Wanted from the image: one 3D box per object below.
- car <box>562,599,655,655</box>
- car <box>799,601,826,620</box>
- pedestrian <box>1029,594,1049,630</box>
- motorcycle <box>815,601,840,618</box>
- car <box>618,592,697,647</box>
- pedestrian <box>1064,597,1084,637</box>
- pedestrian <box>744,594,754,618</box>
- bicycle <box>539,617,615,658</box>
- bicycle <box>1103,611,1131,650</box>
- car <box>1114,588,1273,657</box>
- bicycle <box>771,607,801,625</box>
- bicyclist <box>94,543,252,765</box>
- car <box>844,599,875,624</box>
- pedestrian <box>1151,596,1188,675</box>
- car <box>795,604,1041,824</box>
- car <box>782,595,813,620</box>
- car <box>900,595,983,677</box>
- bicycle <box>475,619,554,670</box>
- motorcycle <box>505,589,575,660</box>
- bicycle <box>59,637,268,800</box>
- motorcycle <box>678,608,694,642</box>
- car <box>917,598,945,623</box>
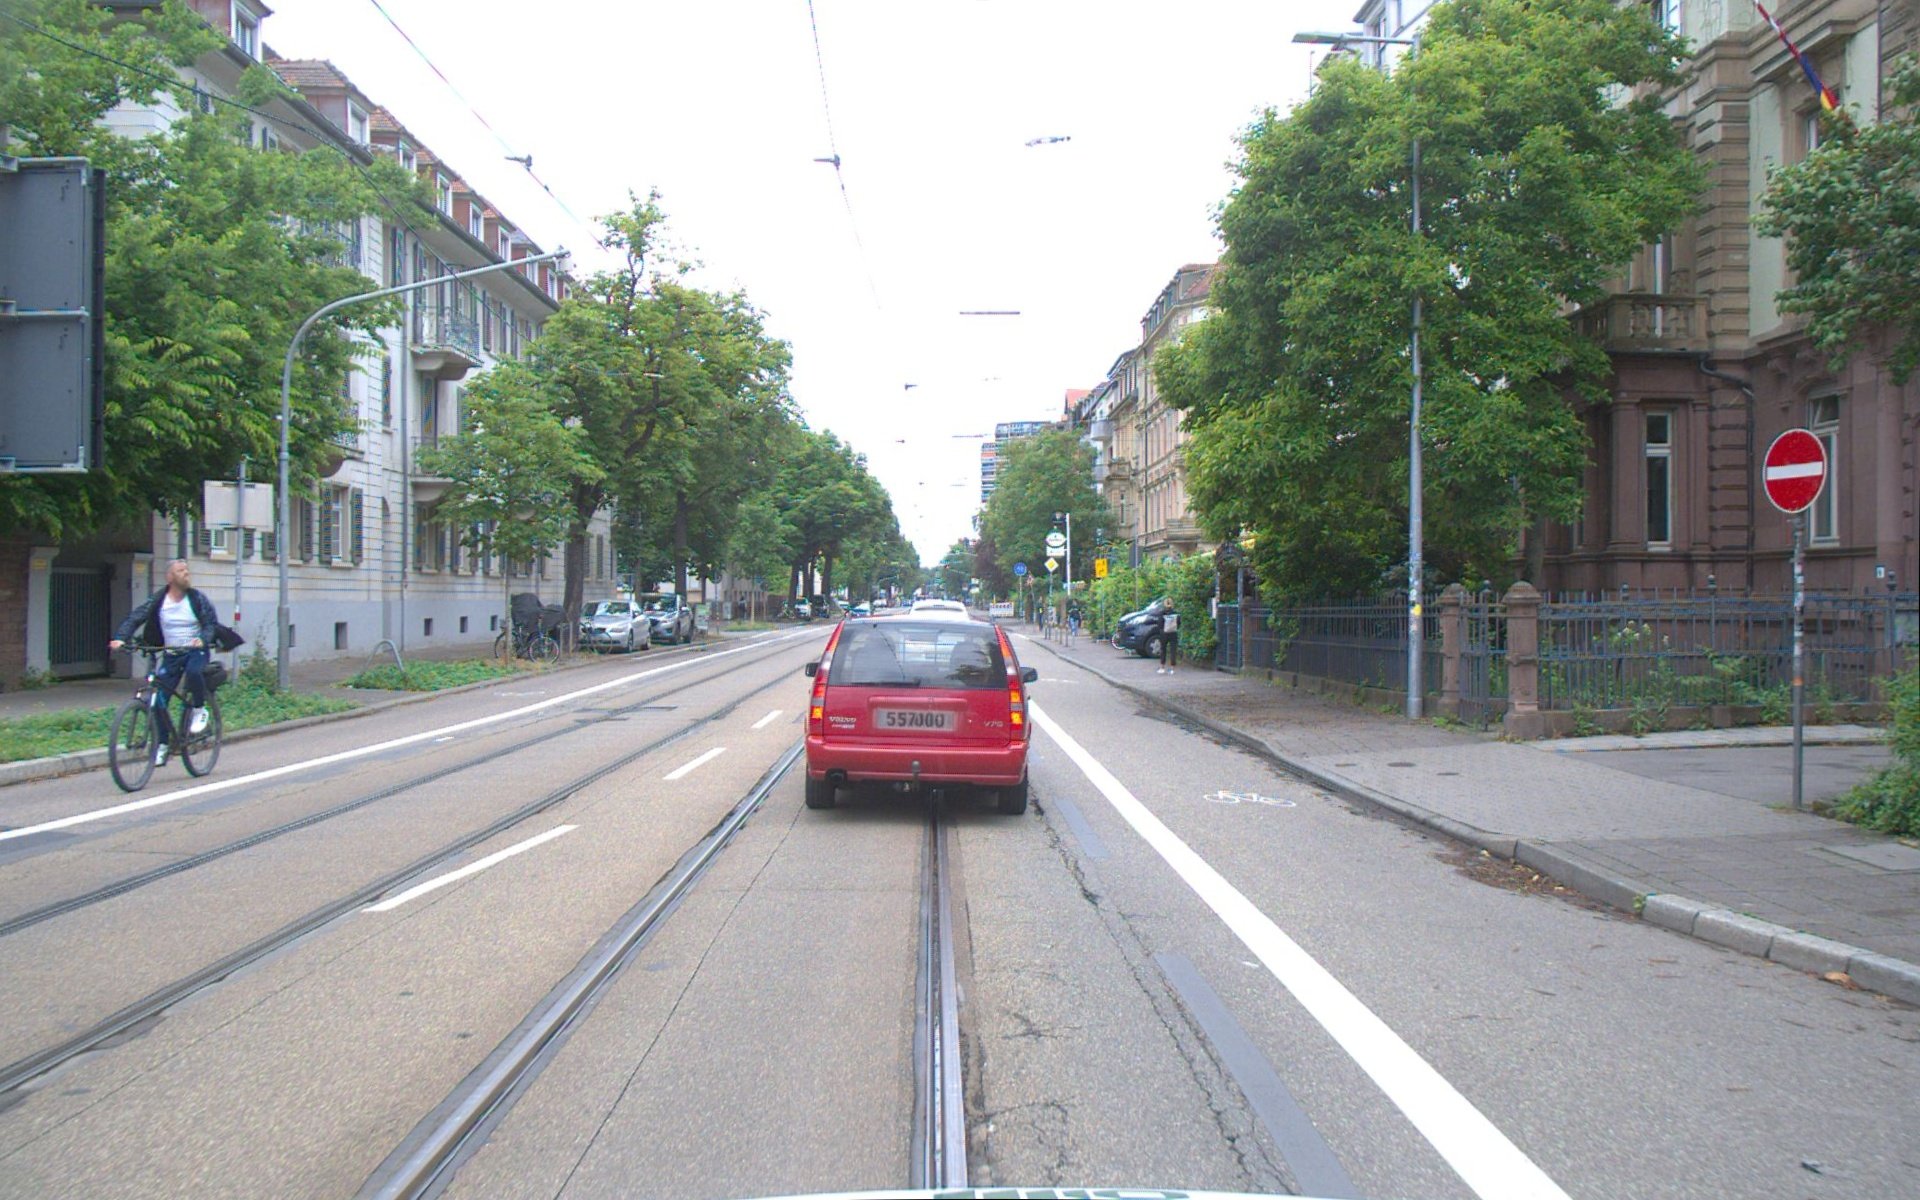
[{"bbox_3d":[-9.926,0.738,46.976,1.775,1.491,4.612,1,0,-2],"label":"car"},{"bbox_3d":[-11.797,0.832,132.693,1.741,1.537,4.237,1,0,0],"label":"car"},{"bbox_3d":[3.768,0.568,78.879,0.854,1.685,0.909,0,0,11],"label":"pedestrian"},{"bbox_3d":[-12.335,0.868,154.372,2.225,1.538,0.924,0,-2,34],"label":"motorcycle"},{"bbox_3d":[-10.050,0.621,55.308,1.800,1.690,4.293,2,0,0],"label":"car"},{"bbox_3d":[4.939,0.737,71.764,0.777,1.665,0.836,-1,-1,-1],"label":"pedestrian"},{"bbox_3d":[-13.422,0.379,105.228,0.553,1.493,0.722,0,0,-1],"label":"pedestrian"},{"bbox_3d":[-10.079,0.991,43.587,1.858,1.045,0.563,1,0,-6],"label":"bicycle"},{"bbox_3d":[5.001,0.957,52.700,0.620,1.147,1.812,-2,1,-2],"label":"bicycle"},{"bbox_3d":[6.507,0.613,46.331,4.192,1.841,1.824,-1,0,0],"label":"car"},{"bbox_3d":[-11.563,1.039,109.795,1.883,1.141,0.624,2,0,-2],"label":"bicycle"},{"bbox_3d":[-6.752,0.440,14.245,0.775,1.815,1.147,-1,0,-1],"label":"bicyclist"},{"bbox_3d":[-5.933,0.642,97.945,1.694,1.433,3.654,0,0,-1],"label":"car"},{"bbox_3d":[4.659,0.776,36.856,0.611,1.700,0.959,-3,0,-2],"label":"pedestrian"},{"bbox_3d":[-0.292,0.770,13.021,1.654,1.467,3.742,0,0,0],"label":"car"},{"bbox_3d":[-11.175,0.506,113.891,1.859,1.684,4.223,0,0,-2],"label":"car"},{"bbox_3d":[-0.346,0.732,35.383,1.683,1.653,3.941,0,0,1],"label":"car"},{"bbox_3d":[-10.173,1.015,37.765,1.705,1.148,0.518,-1,0,17],"label":"bicycle"},{"bbox_3d":[-10.153,0.578,40.093,0.815,1.672,2.482,0,0,7],"label":"motorcycle"},{"bbox_3d":[-6.731,0.961,14.110,0.775,1.206,2.010,-3,0,-1],"label":"bicycle"},{"bbox_3d":[-10.408,0.931,62.854,0.529,1.279,2.139,0,0,-7],"label":"motorcycle"},{"bbox_3d":[-1.932,0.697,109.760,1.707,1.634,3.997,0,0,-3],"label":"car"}]
